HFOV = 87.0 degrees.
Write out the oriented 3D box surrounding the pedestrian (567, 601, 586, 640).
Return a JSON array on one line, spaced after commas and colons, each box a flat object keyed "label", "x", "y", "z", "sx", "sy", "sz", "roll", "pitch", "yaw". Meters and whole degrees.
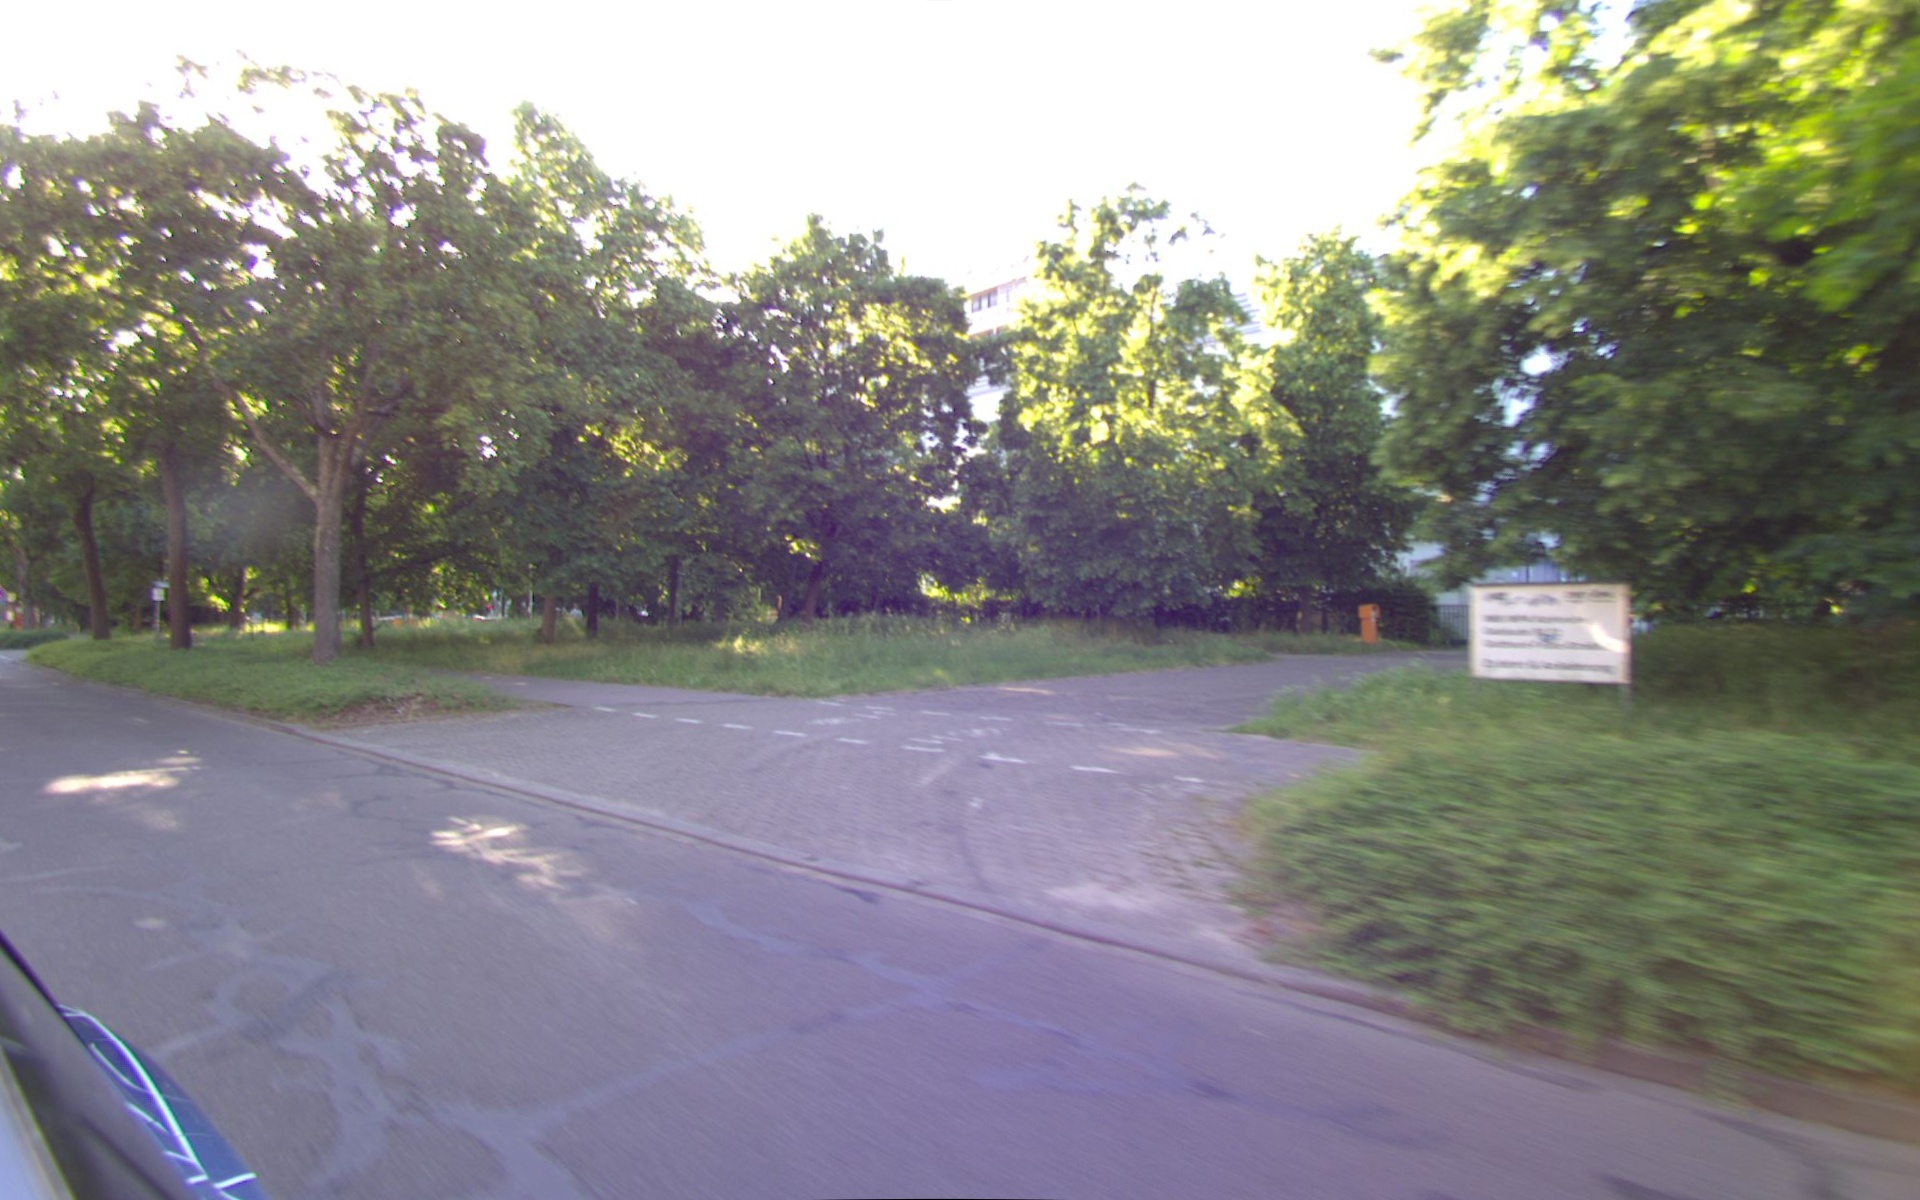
[{"label": "pedestrian", "x": -19.947, "y": 1.060, "z": 52.585, "sx": 0.747, "sy": 2.029, "sz": 0.591, "roll": 0, "pitch": -1, "yaw": -42}]
